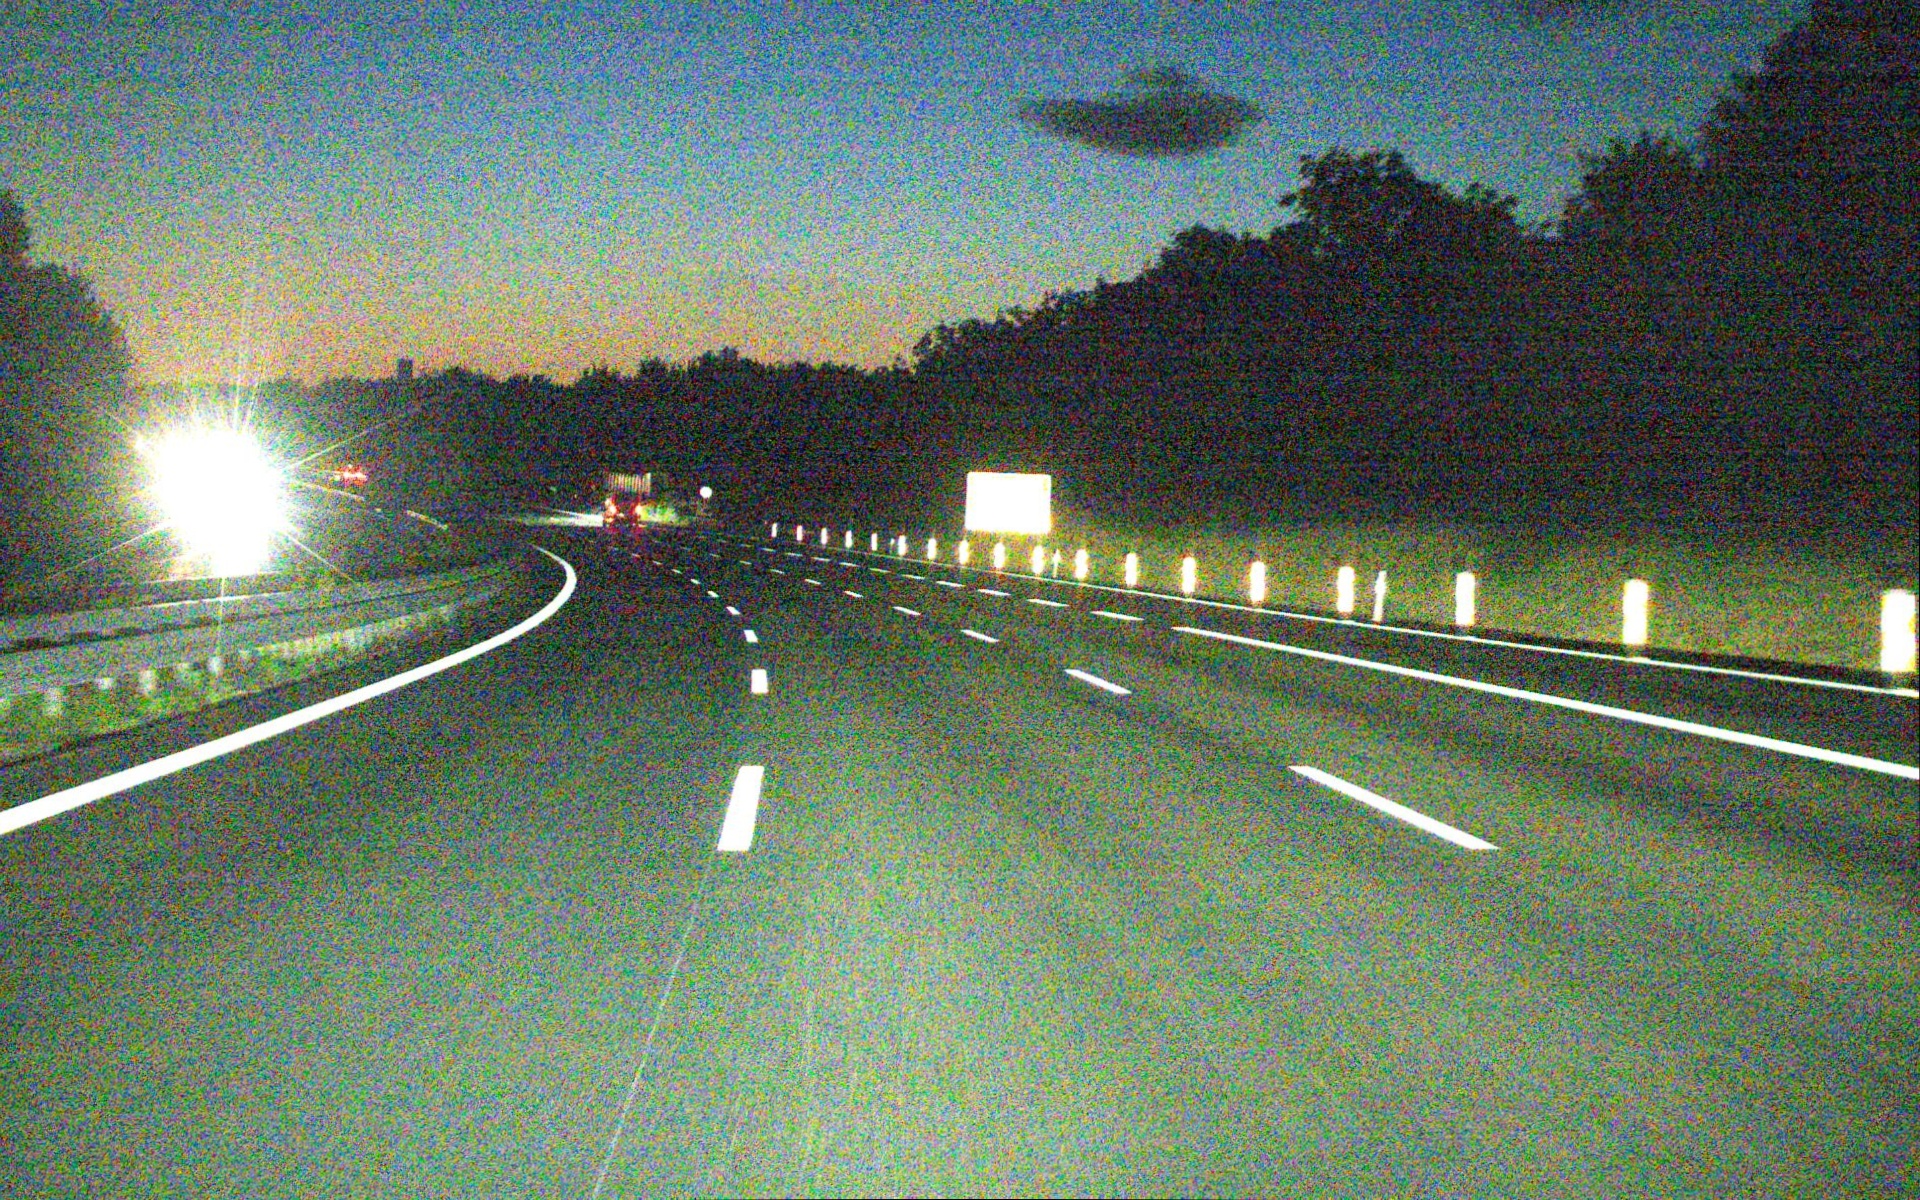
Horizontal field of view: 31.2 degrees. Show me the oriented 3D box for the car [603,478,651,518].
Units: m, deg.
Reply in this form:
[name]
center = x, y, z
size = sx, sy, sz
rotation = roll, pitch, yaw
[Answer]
[car]
center = -23.162, -7.125, 239.042
size = 2.527, 2.544, 6.054
rotation = 2, 2, -12
